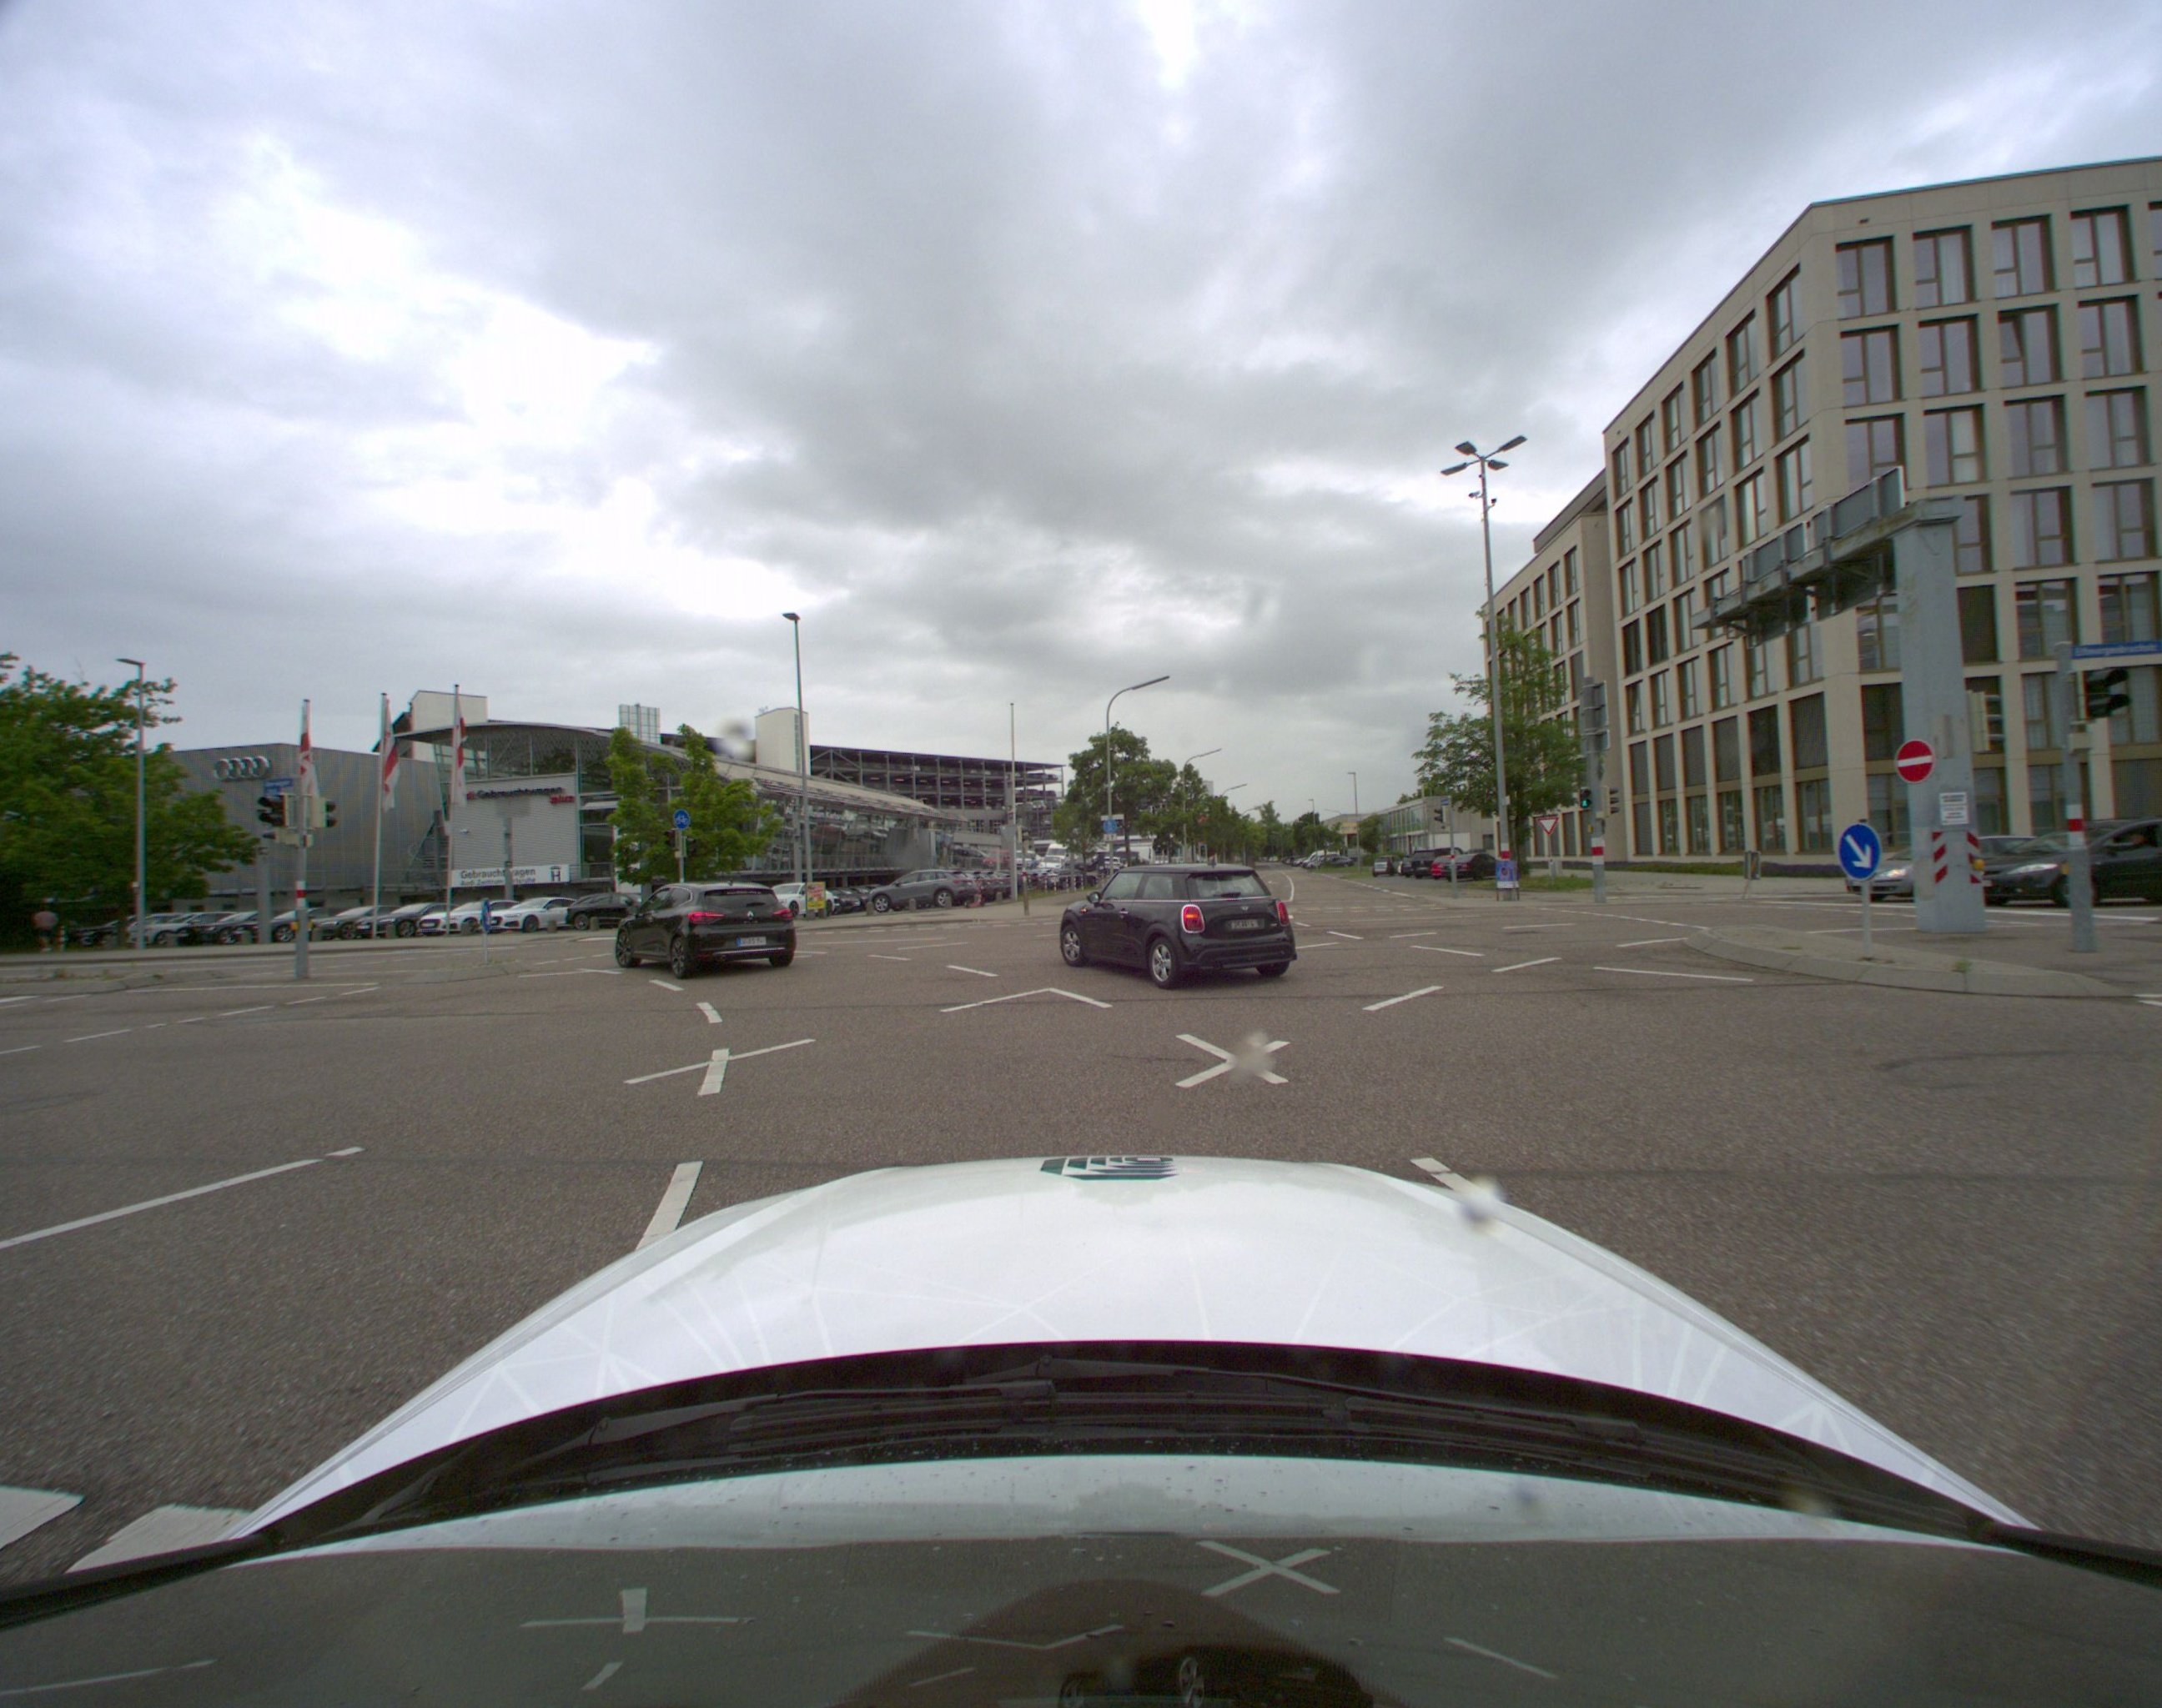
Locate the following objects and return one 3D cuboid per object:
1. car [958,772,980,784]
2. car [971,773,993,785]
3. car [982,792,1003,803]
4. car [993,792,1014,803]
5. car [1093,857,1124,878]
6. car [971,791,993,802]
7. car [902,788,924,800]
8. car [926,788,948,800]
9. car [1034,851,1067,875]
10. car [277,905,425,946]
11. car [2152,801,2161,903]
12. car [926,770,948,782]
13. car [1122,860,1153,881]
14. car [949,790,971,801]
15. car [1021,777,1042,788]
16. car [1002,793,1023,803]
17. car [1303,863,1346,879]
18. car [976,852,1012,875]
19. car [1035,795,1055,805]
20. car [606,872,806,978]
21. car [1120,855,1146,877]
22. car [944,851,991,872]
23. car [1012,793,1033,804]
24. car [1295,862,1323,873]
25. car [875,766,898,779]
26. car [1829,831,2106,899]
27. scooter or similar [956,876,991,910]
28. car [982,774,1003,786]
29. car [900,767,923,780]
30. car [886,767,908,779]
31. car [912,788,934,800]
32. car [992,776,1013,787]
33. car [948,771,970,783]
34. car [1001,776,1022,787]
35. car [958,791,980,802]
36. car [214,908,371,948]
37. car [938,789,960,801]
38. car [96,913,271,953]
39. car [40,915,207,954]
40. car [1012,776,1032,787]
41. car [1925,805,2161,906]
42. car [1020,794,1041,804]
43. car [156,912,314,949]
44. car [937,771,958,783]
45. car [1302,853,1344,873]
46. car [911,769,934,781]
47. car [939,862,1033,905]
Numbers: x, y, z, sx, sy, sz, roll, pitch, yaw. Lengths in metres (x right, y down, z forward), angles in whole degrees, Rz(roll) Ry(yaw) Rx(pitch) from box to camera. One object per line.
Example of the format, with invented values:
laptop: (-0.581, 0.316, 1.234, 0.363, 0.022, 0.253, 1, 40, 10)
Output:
car: (-21.025, -14.228, 153.181, 3.950, 1.667, 2.012, -3, -2, 45)
car: (-18.904, -14.271, 155.446, 3.950, 1.667, 2.012, -3, -2, 45)
car: (-17.133, -10.858, 157.209, 3.950, 1.667, 2.012, -3, -2, 45)
car: (-15.106, -10.976, 159.235, 3.950, 1.667, 2.012, -3, -2, 45)
car: (2.244, 1.102, 66.358, 1.981, 1.618, 4.010, -1, -2, 9)
car: (-18.851, -10.956, 155.179, 3.950, 1.667, 2.012, -3, -2, 45)
car: (-29.754, -10.659, 144.187, 3.950, 1.667, 2.012, -3, -2, 45)
car: (-26.123, -10.834, 147.813, 3.950, 1.667, 2.012, -3, -2, 45)
car: (-2.481, 0.759, 67.117, 1.981, 1.823, 4.010, -1, -2, 9)
car: (-29.695, 2.880, 33.323, 1.891, 1.486, 4.200, -3, -4, 9)
car: (19.418, -0.095, 12.119, 4.033, 1.643, 1.909, -1, -2, 7)
car: (-26.146, -14.162, 148.014, 3.950, 1.667, 2.012, -3, -2, 45)
car: (4.629, 1.350, 66.415, 1.981, 1.618, 4.012, -1, -2, 11)
car: (-22.569, -10.876, 151.462, 3.950, 1.667, 2.012, -3, -2, 45)
car: (-10.009, -14.422, 164.996, 3.950, 1.667, 2.012, -3, -2, 45)
car: (-13.557, -11.022, 160.907, 3.950, 1.667, 2.012, -3, -2, 45)
car: (31.747, 2.268, 106.230, 5.141, 2.014, 2.149, -1, -2, 10)
car: (-7.225, 0.837, 68.294, 1.981, 1.849, 4.010, -1, -2, 9)
car: (-7.373, -11.047, 167.578, 3.950, 1.667, 2.012, -3, -2, 45)
car: (-6.314, 1.076, 13.493, 1.773, 1.434, 3.950, -1, -1, -44)
car: (4.961, 1.183, 77.393, 1.981, 2.014, 4.010, -1, -2, 9)
car: (-10.576, 0.748, 75.884, 3.962, 1.838, 1.765, -1, -2, 10)
car: (-11.748, -11.108, 163.099, 3.950, 1.667, 2.012, -3, -2, 45)
car: (42.516, 2.470, 151.764, 4.755, 1.891, 2.149, -1, -2, 10)
car: (-33.566, -14.049, 140.465, 3.950, 1.667, 2.012, -3, -2, 45)
car: (20.104, 0.283, 18.661, 4.061, 1.432, 1.755, -1, -2, 9)
scooter or similar: (-4.115, 1.495, 31.300, 0.552, 1.219, 1.569, 0, 0, 27)
car: (-17.056, -14.309, 157.400, 3.950, 1.667, 2.012, -3, -2, 45)
car: (-30.053, -14.218, 144.253, 3.950, 1.667, 2.012, -3, -2, 45)
car: (-32.156, -14.157, 142.259, 3.950, 1.667, 2.012, -3, -2, 45)
car: (-28.412, -10.748, 146.030, 3.950, 1.667, 2.012, -3, -2, 45)
car: (-15.407, -14.294, 159.729, 3.950, 1.667, 2.012, -3, -2, 45)
car: (-22.690, -14.266, 151.680, 3.950, 1.667, 2.012, -3, -2, 45)
car: (-13.835, -14.338, 161.413, 3.950, 1.667, 2.012, -3, -2, 45)
car: (-21.005, -10.869, 153.017, 3.950, 1.667, 2.012, -3, -2, 45)
car: (-32.507, 3.024, 33.780, 1.877, 1.471, 4.389, -3, -4, 9)
car: (-24.338, -10.861, 149.600, 3.950, 1.667, 2.012, -3, -2, 45)
car: (-37.852, 3.299, 34.556, 1.831, 1.472, 4.675, -2, -4, 9)
car: (-40.661, 3.401, 34.761, 1.839, 1.421, 4.227, -2, -4, 9)
car: (-11.852, -14.462, 163.241, 3.950, 1.667, 2.012, -3, -2, 45)
car: (19.411, 0.052, 15.444, 4.381, 1.769, 2.005, -1, -2, 9)
car: (-10.230, -11.151, 164.774, 3.950, 1.667, 2.012, -3, -2, 45)
car: (-35.226, 3.169, 34.097, 1.885, 1.391, 4.177, -3, -4, 9)
car: (-24.562, -14.124, 149.728, 3.950, 1.667, 2.012, -3, -2, 45)
car: (38.067, 1.416, 128.102, 6.076, 3.117, 2.140, -1, -2, 11)
car: (-28.384, -14.186, 145.800, 3.950, 1.667, 2.012, -3, -2, 45)
car: (-5.253, 1.652, 45.303, 4.748, 2.014, 2.003, -4, -3, 6)
